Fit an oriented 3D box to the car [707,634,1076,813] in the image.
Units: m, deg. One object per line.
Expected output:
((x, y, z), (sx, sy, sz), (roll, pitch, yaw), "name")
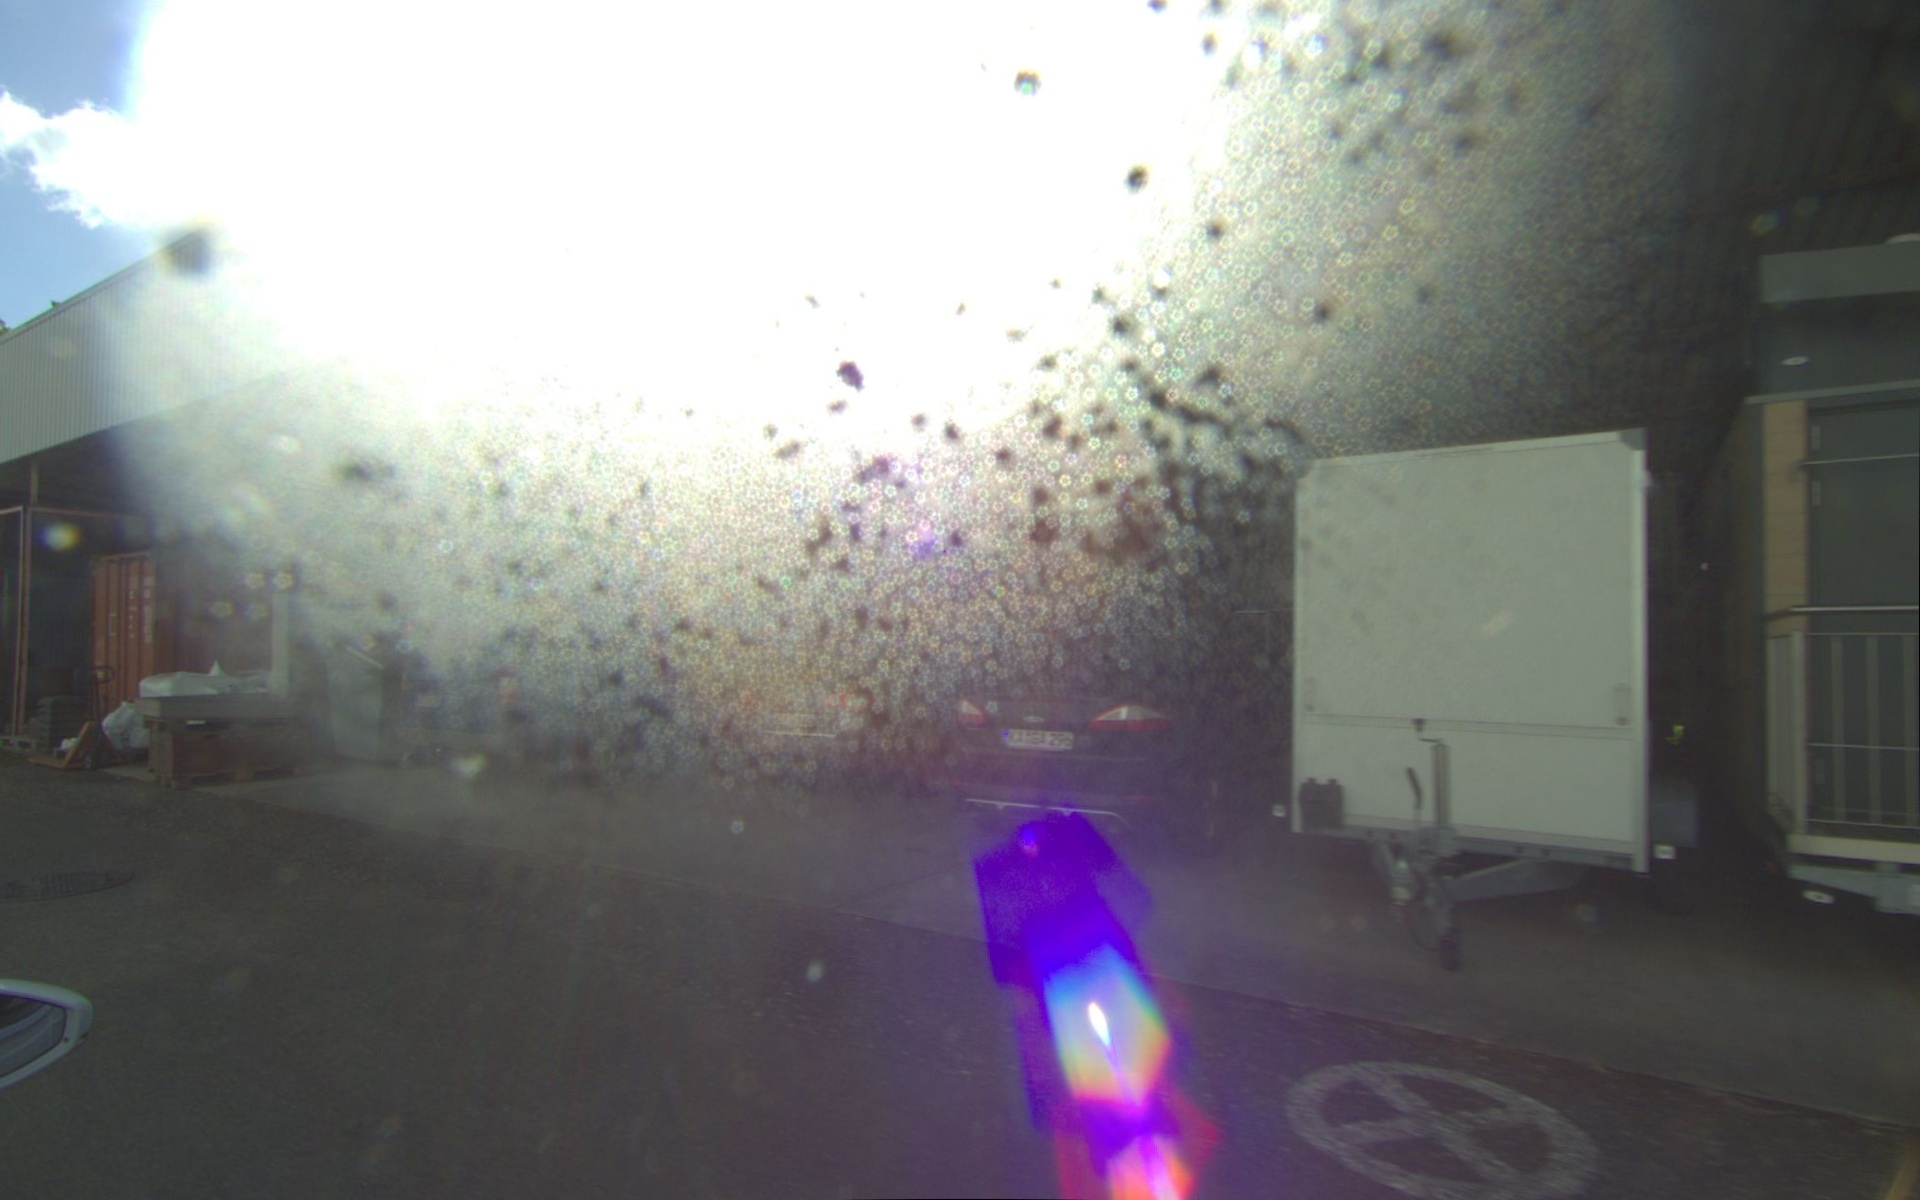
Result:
((-0.498, 1.104, 10.557), (1.824, 1.472, 4.100), (-1, -2, 33), "car")

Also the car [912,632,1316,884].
((1.541, 0.998, 8.152), (1.837, 1.452, 4.340), (-1, -2, 30), "car")

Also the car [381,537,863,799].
((-3.535, 0.738, 11.670), (2.054, 2.326, 5.209), (-1, -3, 32), "car")

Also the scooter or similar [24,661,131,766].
((-10.295, 1.290, 11.671), (1.570, 1.148, 0.519), (-2, -3, 33), "scooter or similar")

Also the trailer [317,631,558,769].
((-6.281, 1.150, 12.135), (1.620, 1.480, 2.088), (-2, -3, 36), "trailer")

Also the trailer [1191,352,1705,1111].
((2.871, 0.478, 5.487), (1.665, 2.365, 4.532), (-1, -2, 33), "trailer")

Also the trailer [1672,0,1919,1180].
((6.368, 0.002, 6.340), (2.638, 3.337, 10.271), (-1, -2, 33), "trailer")

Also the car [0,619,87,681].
((-30.843, 1.545, 31.088), (2.243, 1.942, 5.166), (-1, -4, 28), "car")
